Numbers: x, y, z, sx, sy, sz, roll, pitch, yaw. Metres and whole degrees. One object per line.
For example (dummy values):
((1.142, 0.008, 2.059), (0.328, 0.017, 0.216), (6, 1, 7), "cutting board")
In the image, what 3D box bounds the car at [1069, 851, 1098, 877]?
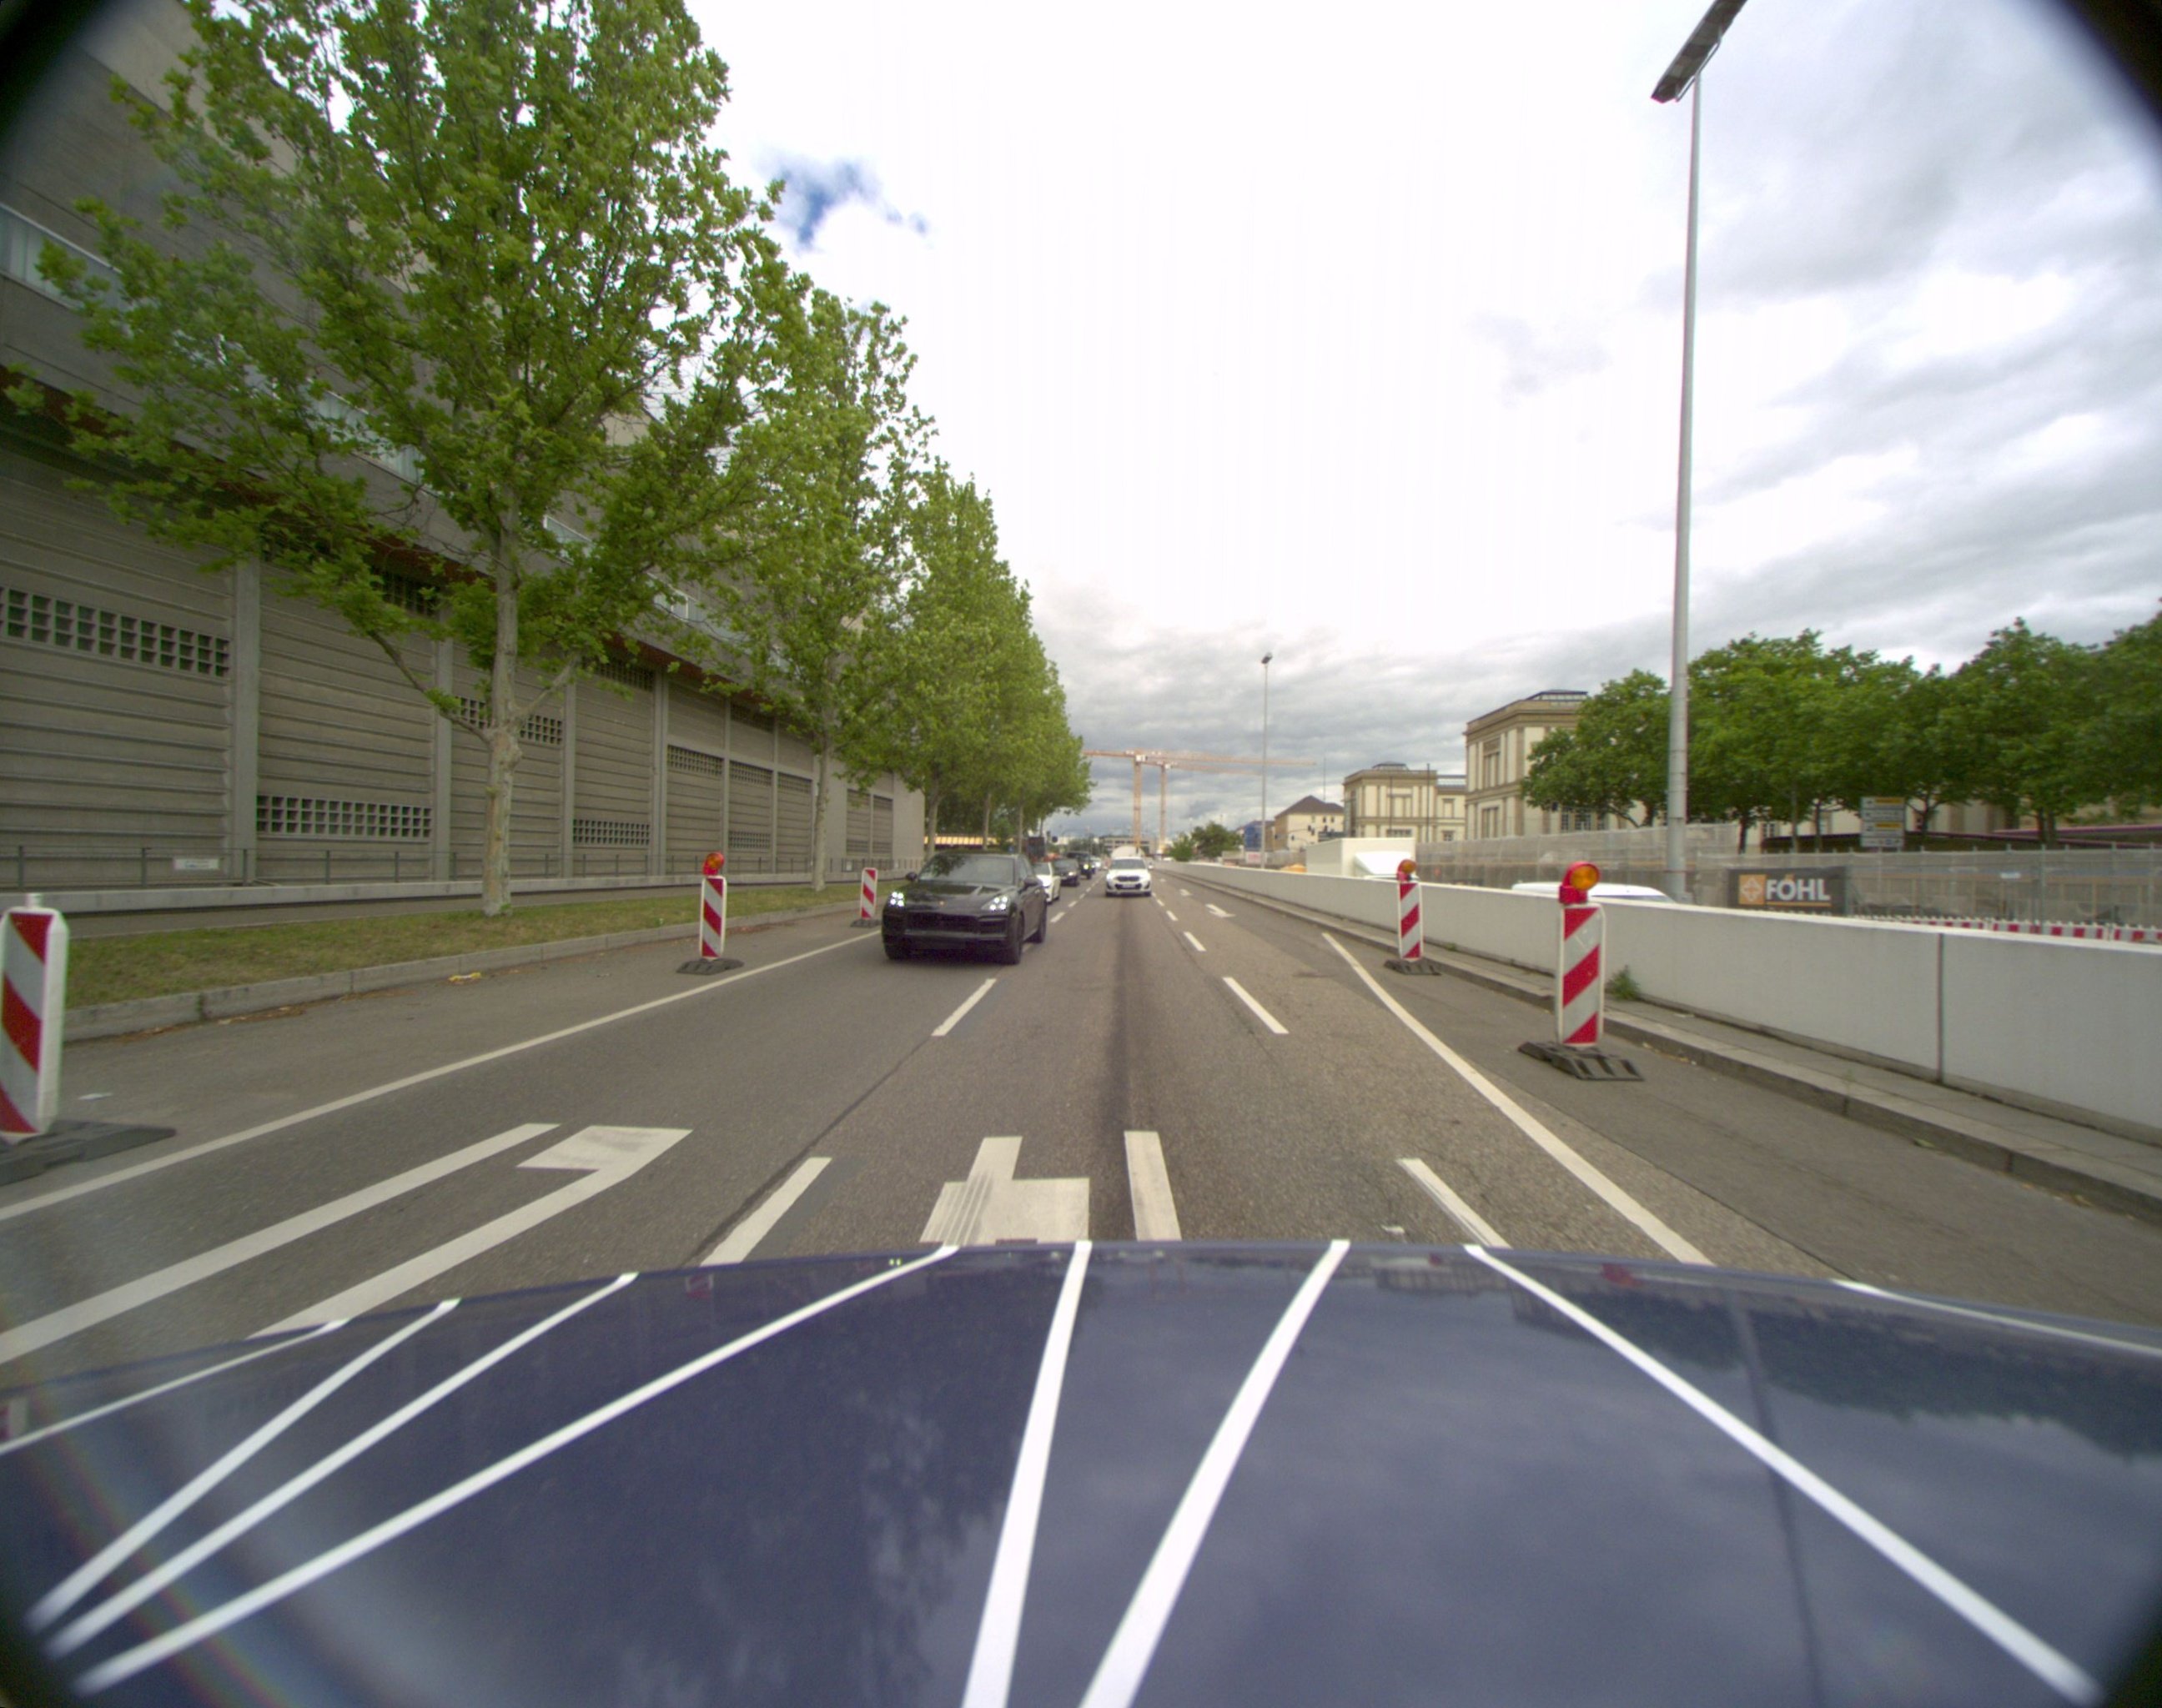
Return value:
((0.243, 0.696, 54.497), (1.811, 1.815, 3.774), (1, 0, 4), "car")

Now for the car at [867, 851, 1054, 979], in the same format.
((-1.726, 0.814, 12.579), (1.955, 1.638, 4.609), (2, 1, 5), "car")

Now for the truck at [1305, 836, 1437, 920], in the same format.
((10.463, 0.879, 28.210), (2.608, 2.695, 6.677), (1, -1, 3), "truck")

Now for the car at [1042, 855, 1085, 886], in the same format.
((-0.898, 0.829, 41.203), (1.955, 1.499, 4.271), (3, 0, 3), "car")

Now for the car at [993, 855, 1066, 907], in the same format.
((-1.683, 0.850, 26.169), (1.955, 1.499, 4.271), (4, 1, 2), "car")

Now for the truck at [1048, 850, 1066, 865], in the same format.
((-6.393, 0.940, 201.699), (2.912, 3.653, 9.016), (1, 0, -13), "truck")

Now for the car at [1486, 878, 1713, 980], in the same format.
((10.237, 1.384, 15.448), (1.998, 1.632, 4.001), (1, 0, 3), "car")

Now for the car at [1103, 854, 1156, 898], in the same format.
((1.872, 0.846, 30.625), (1.812, 1.595, 3.713), (-2, 0, -1), "car")

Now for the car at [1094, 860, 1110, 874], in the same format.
((2.780, 1.679, 99.239), (1.998, 1.632, 4.001), (1, 0, 3), "car")
